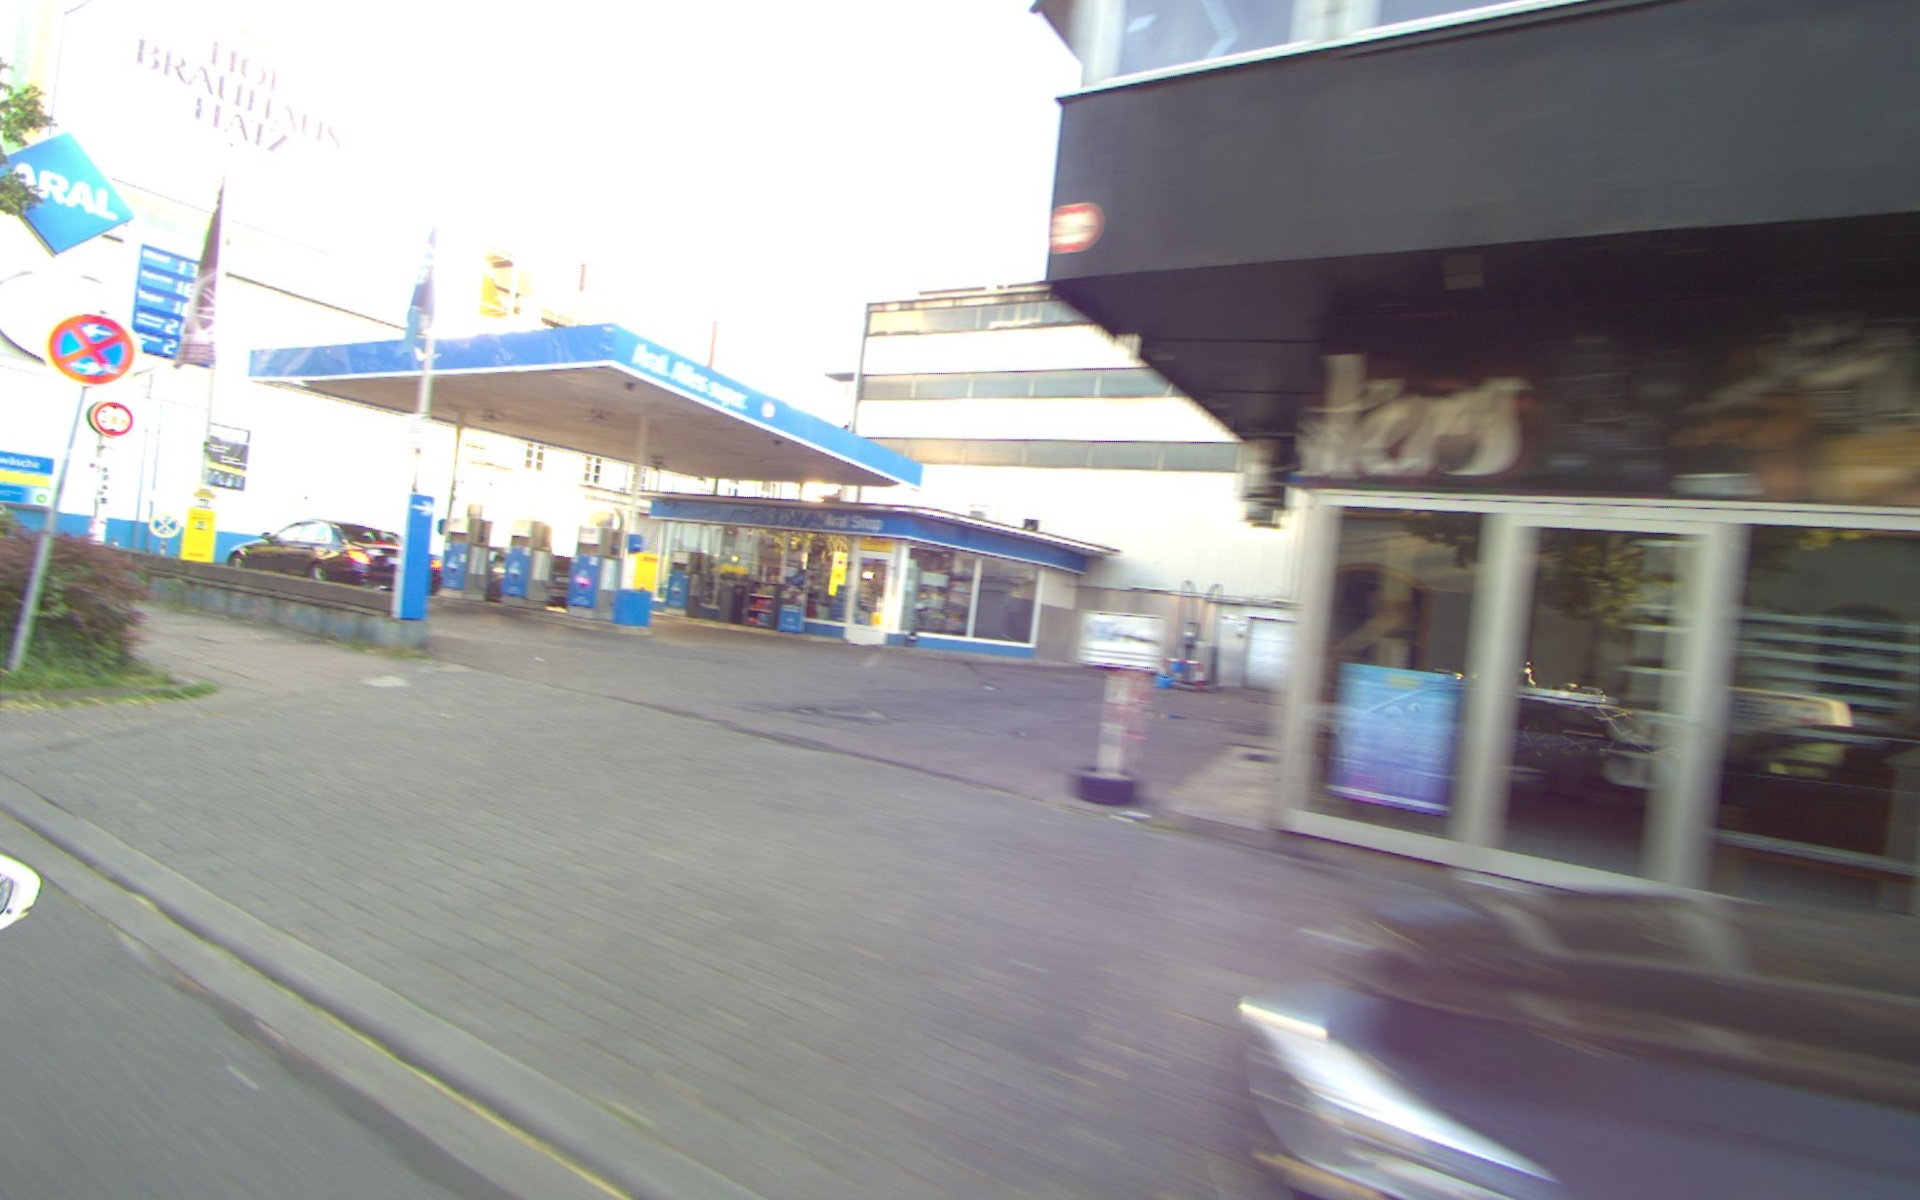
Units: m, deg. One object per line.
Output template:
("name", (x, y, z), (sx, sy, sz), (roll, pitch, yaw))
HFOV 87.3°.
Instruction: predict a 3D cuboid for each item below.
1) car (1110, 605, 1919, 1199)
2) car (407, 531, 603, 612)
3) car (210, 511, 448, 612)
("car", (2.781, 1.030, 1.321), (4.767, 1.507, 1.830), (7, 2, 30))
("car", (-10.504, -0.674, 23.110), (4.681, 1.419, 1.711), (5, 0, 32))
("car", (-11.795, -0.744, 18.707), (4.828, 1.448, 1.736), (5, 0, 32))
